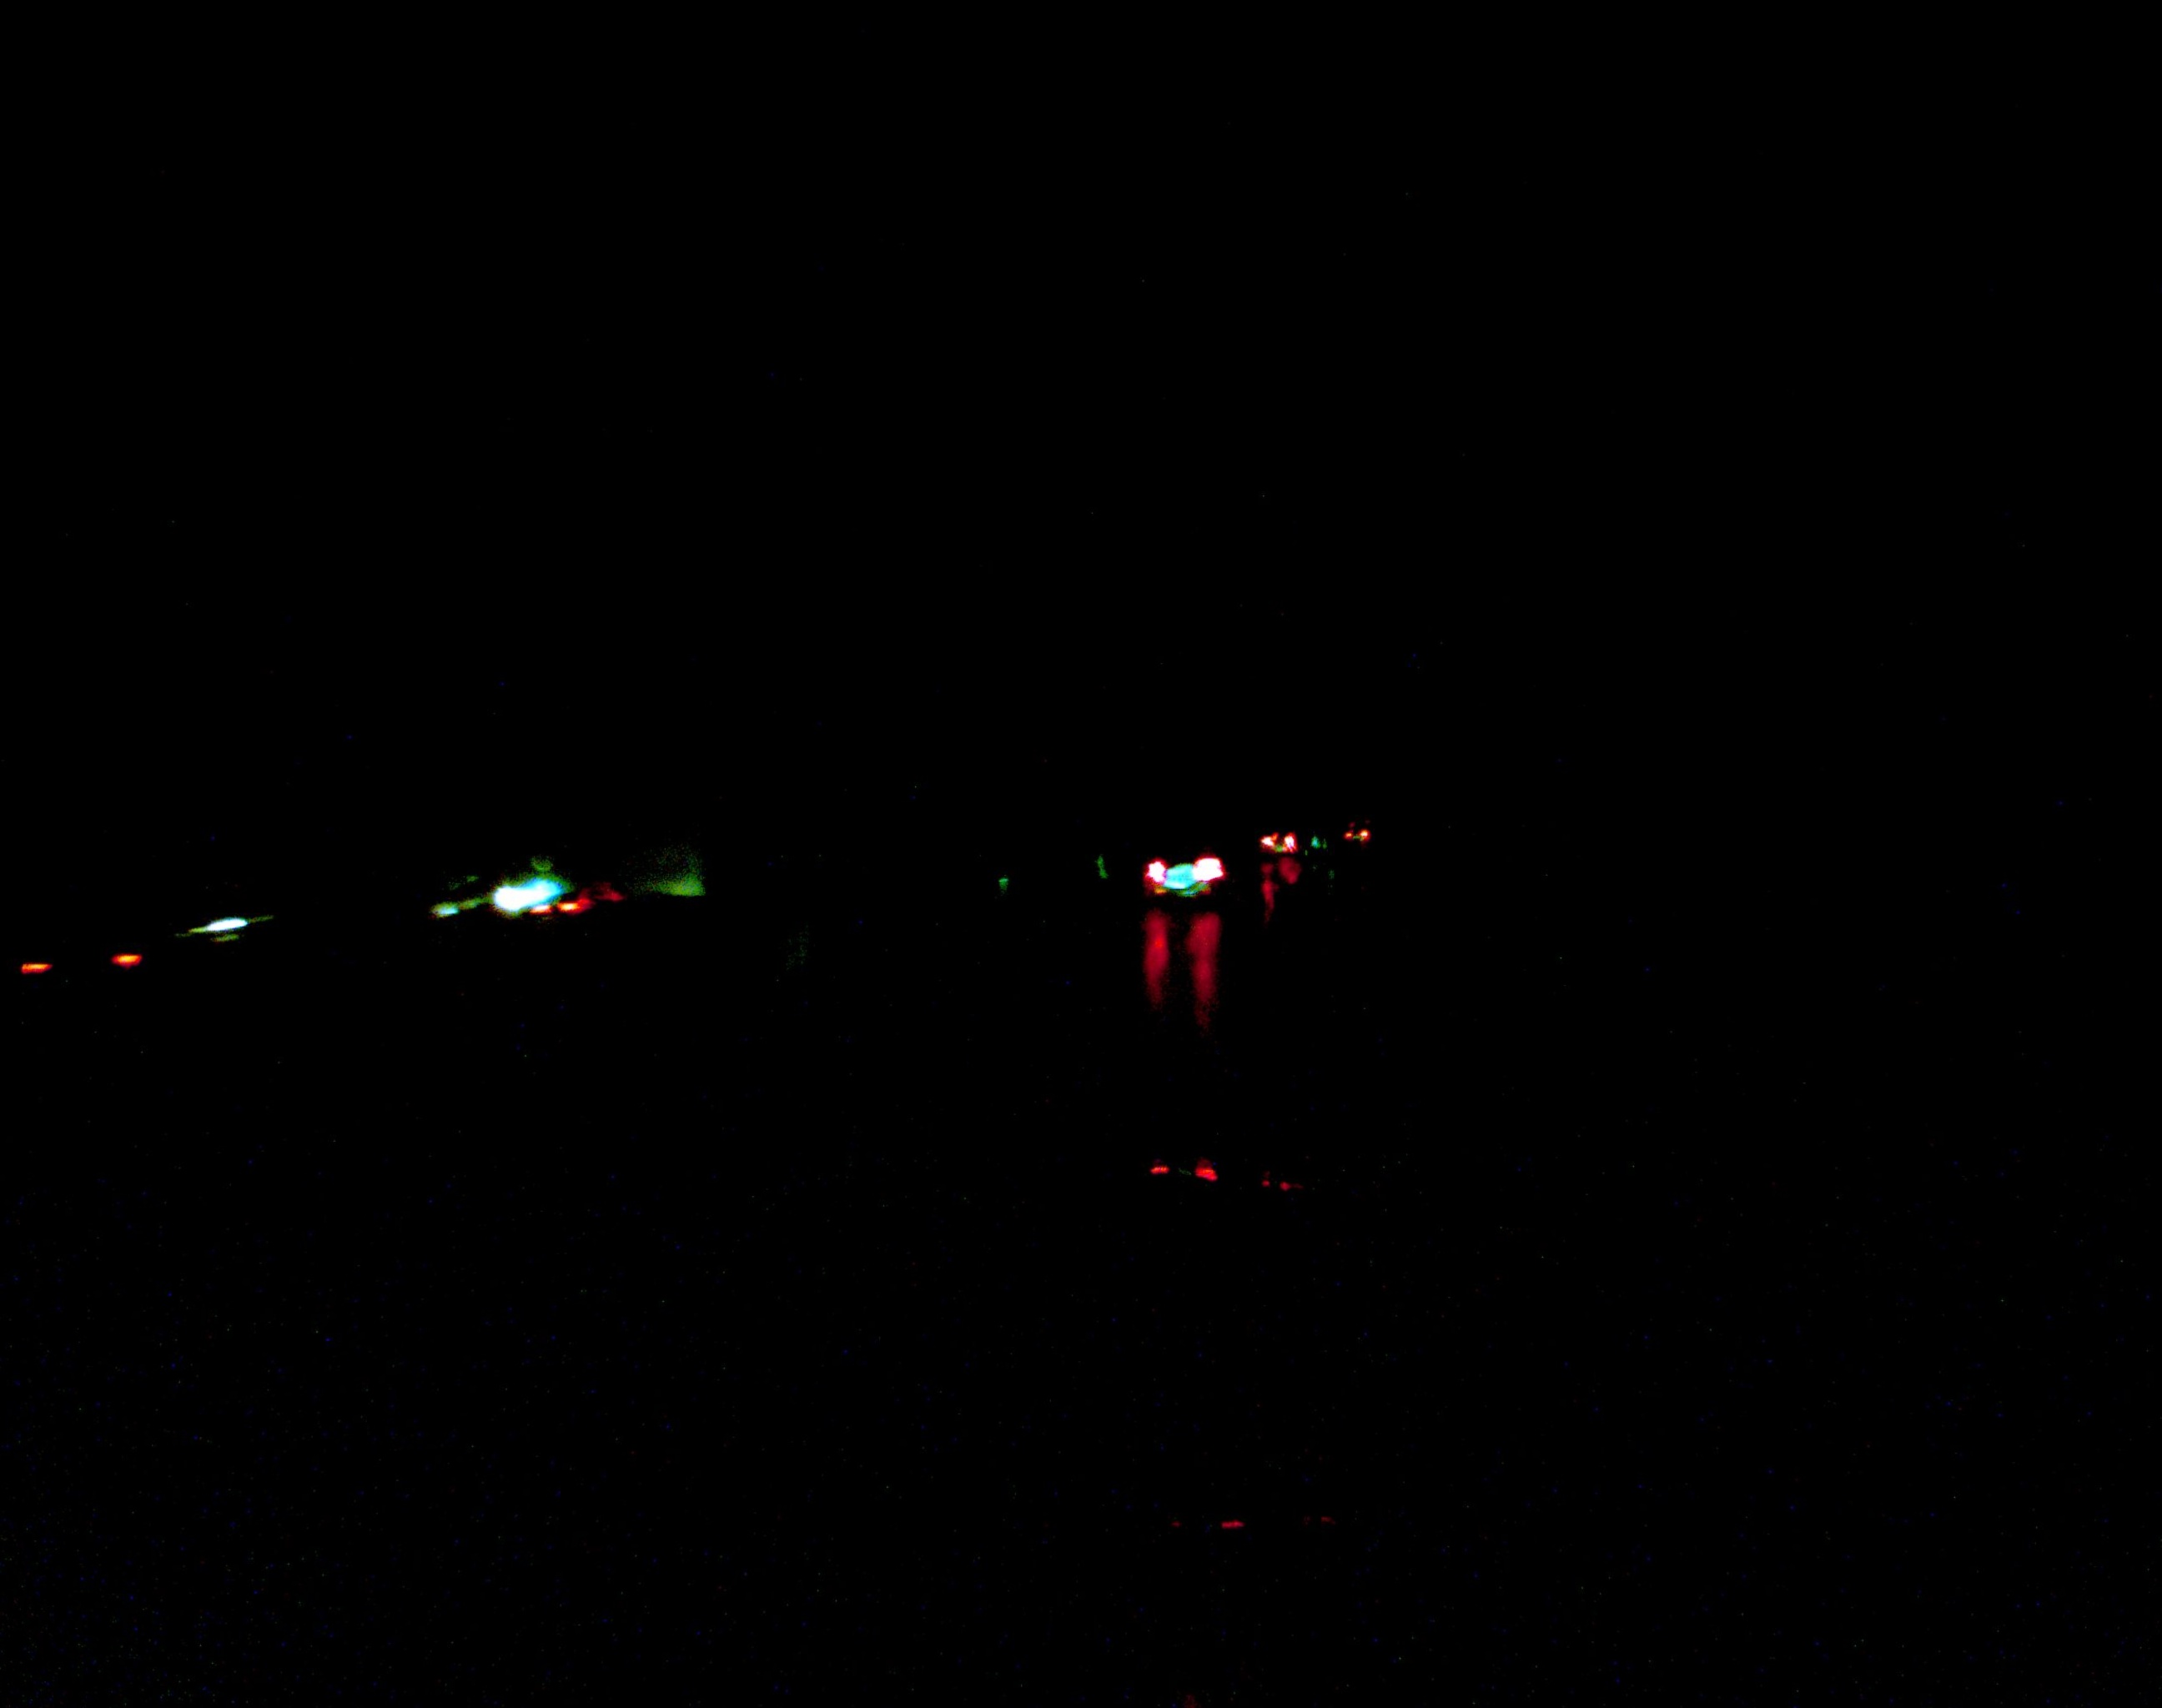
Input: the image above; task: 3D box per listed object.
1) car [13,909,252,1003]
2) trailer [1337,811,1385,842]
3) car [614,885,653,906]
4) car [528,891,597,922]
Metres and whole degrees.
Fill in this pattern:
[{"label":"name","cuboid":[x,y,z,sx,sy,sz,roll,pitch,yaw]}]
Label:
[{"label":"car","cuboid":[-21.061,2.176,18.342,1.654,1.575,3.825,-5,0,-18]},{"label":"trailer","cuboid":[22.078,-2.068,63.864,2.059,2.014,10.710,-4,-2,26]},{"label":"car","cuboid":[-37.171,3.426,67.770,1.772,1.517,4.885,-3,-1,-17]},{"label":"car","cuboid":[-26.089,2.625,41.125,1.968,1.380,4.023,-3,-2,-19]}]
